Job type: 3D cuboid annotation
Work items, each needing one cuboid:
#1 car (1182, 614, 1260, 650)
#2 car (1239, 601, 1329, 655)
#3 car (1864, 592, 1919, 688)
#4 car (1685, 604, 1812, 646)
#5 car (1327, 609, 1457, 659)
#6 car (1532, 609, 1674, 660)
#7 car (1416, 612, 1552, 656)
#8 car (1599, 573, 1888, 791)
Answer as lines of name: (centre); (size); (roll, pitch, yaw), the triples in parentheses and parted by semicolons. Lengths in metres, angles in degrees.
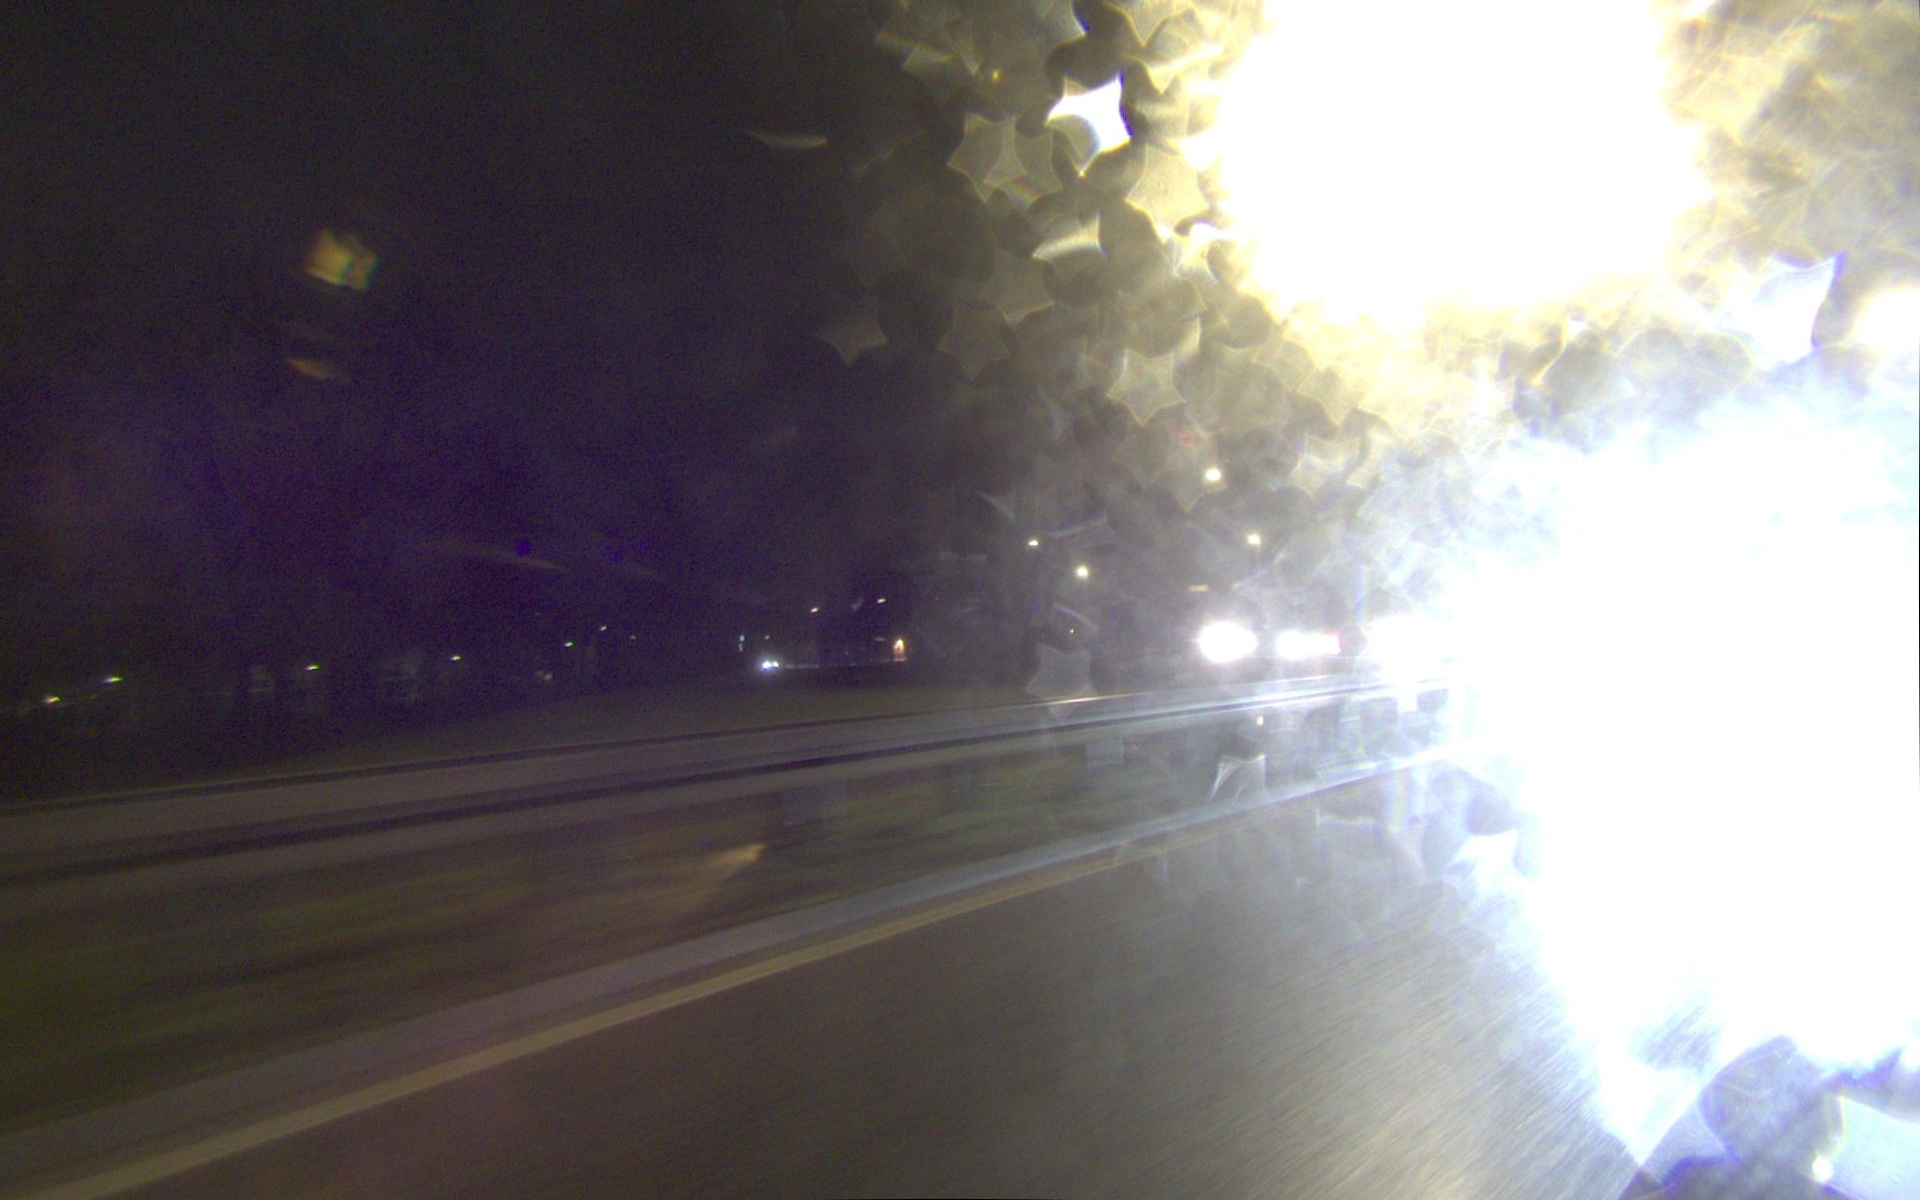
car: (12.834, 1.574, 50.125); (1.958, 1.661, 4.353); (-1, -1, -12)
car: (13.908, 1.263, 43.724); (1.728, 2.039, 4.004); (-5, -3, -12)
car: (18.431, 0.706, 18.333); (4.204, 1.641, 2.048); (1, -1, -33)
car: (34.101, 1.049, 43.853); (4.242, 1.720, 1.971); (-1, -1, 40)
car: (15.739, 1.184, 37.164); (1.958, 1.660, 4.791); (0, 0, -13)
car: (23.269, 1.192, 36.817); (1.958, 1.660, 4.127); (0, 0, -16)
car: (19.071, 1.198, 37.083); (1.958, 1.426, 4.554); (0, 0, -13)
car: (8.086, 0.634, 10.285); (1.923, 1.736, 4.172); (1, 1, 43)
